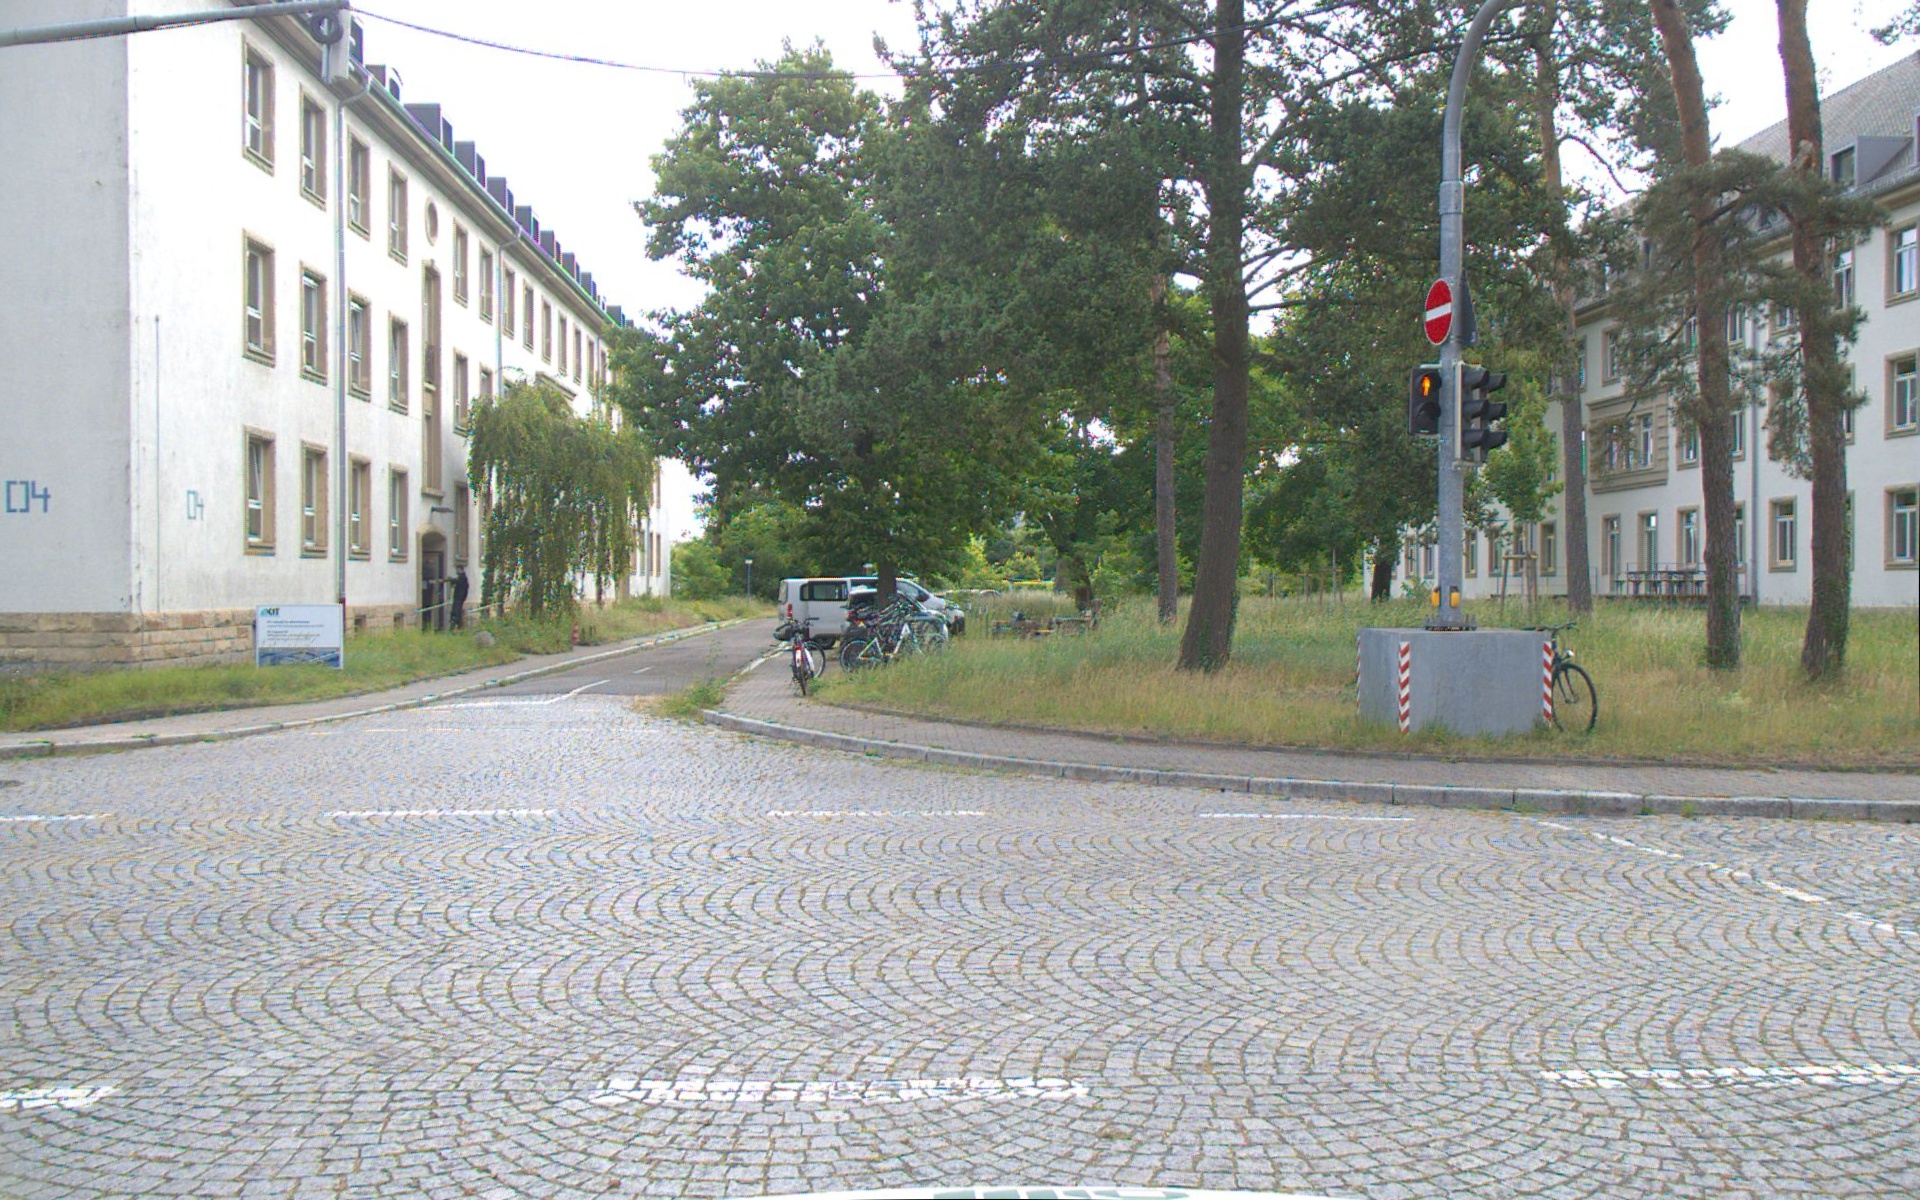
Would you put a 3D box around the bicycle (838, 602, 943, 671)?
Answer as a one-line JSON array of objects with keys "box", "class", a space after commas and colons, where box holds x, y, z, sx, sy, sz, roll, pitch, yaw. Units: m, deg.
[{"box": [-1.321, 0.690, 31.394, 1.943, 1.269, 0.624, 1, 0, -5], "class": "bicycle"}]

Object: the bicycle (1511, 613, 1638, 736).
[{"box": [5.677, 0.659, 15.371, 0.568, 0.987, 1.678, -2, 2, 1], "class": "bicycle"}]

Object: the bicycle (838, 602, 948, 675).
[{"box": [-1.211, 0.688, 29.836, 1.943, 1.269, 0.624, 1, 0, -5], "class": "bicycle"}]

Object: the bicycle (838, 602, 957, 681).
[{"box": [-1.046, 0.685, 27.428, 1.943, 1.269, 0.624, 1, 0, -5], "class": "bicycle"}]

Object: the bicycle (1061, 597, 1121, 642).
[{"box": [3.358, 0.488, 42.484, 1.518, 1.144, 0.401, 0, 0, -2], "class": "bicycle"}]

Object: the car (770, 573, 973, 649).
[{"box": [-2.436, 0.278, 45.470, 5.221, 1.949, 2.139, -1, 0, -18], "class": "car"}]

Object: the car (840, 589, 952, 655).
[{"box": [-1.630, 0.543, 42.035, 2.791, 1.585, 1.471, -1, 1, -4], "class": "car"}]

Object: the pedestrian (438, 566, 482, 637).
[{"box": [-12.896, 0.047, 42.695, 0.820, 1.812, 0.941, 0, 0, 2], "class": "pedestrian"}]

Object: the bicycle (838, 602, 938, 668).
[{"box": [-1.447, 0.691, 33.070, 1.943, 1.269, 0.624, 1, 0, -5], "class": "bicycle"}]

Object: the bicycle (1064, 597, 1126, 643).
[{"box": [3.358, 0.488, 41.251, 1.518, 1.144, 0.401, 0, 0, -2], "class": "bicycle"}]

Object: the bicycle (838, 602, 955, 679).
[{"box": [-1.086, 0.686, 28.056, 1.943, 1.269, 0.624, 1, 0, -5], "class": "bicycle"}]

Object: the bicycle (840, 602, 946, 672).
[{"box": [-1.262, 0.690, 30.993, 1.943, 1.269, 0.624, 1, 0, -5], "class": "bicycle"}]

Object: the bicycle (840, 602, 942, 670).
[{"box": [-1.346, 0.691, 32.067, 1.943, 1.269, 0.624, 1, 0, -5], "class": "bicycle"}]

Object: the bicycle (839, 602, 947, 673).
[{"box": [-1.245, 0.689, 30.468, 1.943, 1.269, 0.624, 1, 0, -5], "class": "bicycle"}]

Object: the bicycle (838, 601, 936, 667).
[{"box": [-1.489, 0.692, 33.728, 1.944, 1.269, 0.624, -2, 0, -5], "class": "bicycle"}]

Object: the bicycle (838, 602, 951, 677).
[{"box": [-1.157, 0.687, 28.979, 1.943, 1.269, 0.624, 1, 0, -5], "class": "bicycle"}]

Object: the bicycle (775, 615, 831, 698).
[{"box": [-2.254, 0.789, 23.981, 0.609, 1.133, 1.989, 1, 0, 0], "class": "bicycle"}]

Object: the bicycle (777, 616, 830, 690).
[{"box": [-2.441, 0.806, 25.927, 0.609, 1.101, 1.678, 1, 0, 1], "class": "bicycle"}]

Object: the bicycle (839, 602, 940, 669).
[{"box": [-1.400, 0.691, 32.578, 1.943, 1.269, 0.624, 1, 0, -5], "class": "bicycle"}]

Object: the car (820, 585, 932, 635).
[{"box": [-3.040, 0.350, 59.338, 3.952, 1.748, 1.679, 0, 0, -5], "class": "car"}]
